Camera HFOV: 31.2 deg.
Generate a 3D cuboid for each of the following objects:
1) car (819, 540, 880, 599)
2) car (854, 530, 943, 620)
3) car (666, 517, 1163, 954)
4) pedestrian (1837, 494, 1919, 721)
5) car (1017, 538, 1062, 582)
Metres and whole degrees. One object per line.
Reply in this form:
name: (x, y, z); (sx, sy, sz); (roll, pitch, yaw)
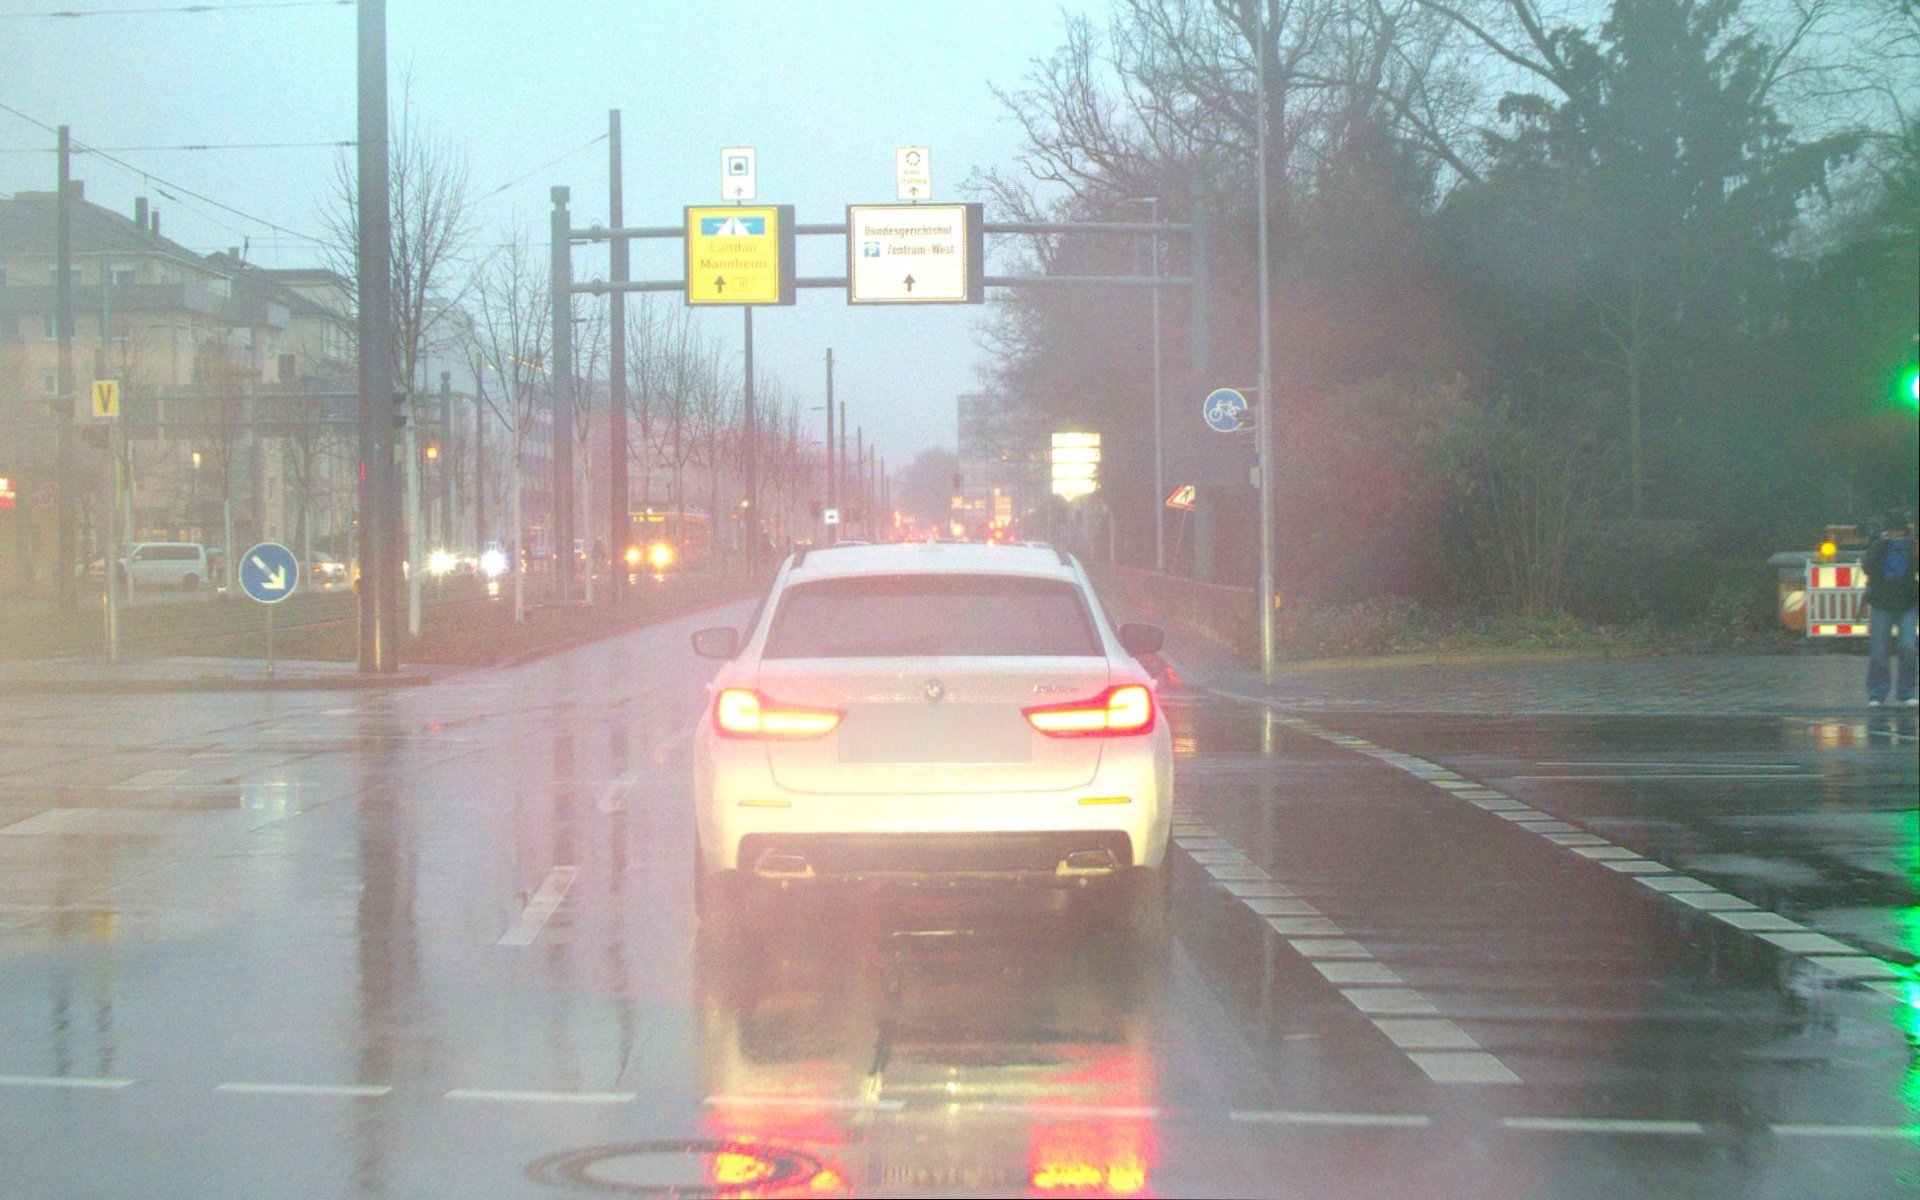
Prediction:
car: (-3.826, -1.077, 119.921); (1.993, 2.007, 4.000); (1, 1, 0)
car: (-1.396, -0.596, 79.701); (1.993, 2.007, 4.000); (1, 1, 0)
car: (-0.298, 0.456, 14.378); (1.759, 1.547, 4.252); (1, 1, -4)
pedestrian: (7.766, 0.056, 28.840); (0.713, 1.873, 0.674); (1, 1, 19)
car: (3.749, -1.893, 162.797); (1.993, 2.007, 4.000); (1, 1, 0)
